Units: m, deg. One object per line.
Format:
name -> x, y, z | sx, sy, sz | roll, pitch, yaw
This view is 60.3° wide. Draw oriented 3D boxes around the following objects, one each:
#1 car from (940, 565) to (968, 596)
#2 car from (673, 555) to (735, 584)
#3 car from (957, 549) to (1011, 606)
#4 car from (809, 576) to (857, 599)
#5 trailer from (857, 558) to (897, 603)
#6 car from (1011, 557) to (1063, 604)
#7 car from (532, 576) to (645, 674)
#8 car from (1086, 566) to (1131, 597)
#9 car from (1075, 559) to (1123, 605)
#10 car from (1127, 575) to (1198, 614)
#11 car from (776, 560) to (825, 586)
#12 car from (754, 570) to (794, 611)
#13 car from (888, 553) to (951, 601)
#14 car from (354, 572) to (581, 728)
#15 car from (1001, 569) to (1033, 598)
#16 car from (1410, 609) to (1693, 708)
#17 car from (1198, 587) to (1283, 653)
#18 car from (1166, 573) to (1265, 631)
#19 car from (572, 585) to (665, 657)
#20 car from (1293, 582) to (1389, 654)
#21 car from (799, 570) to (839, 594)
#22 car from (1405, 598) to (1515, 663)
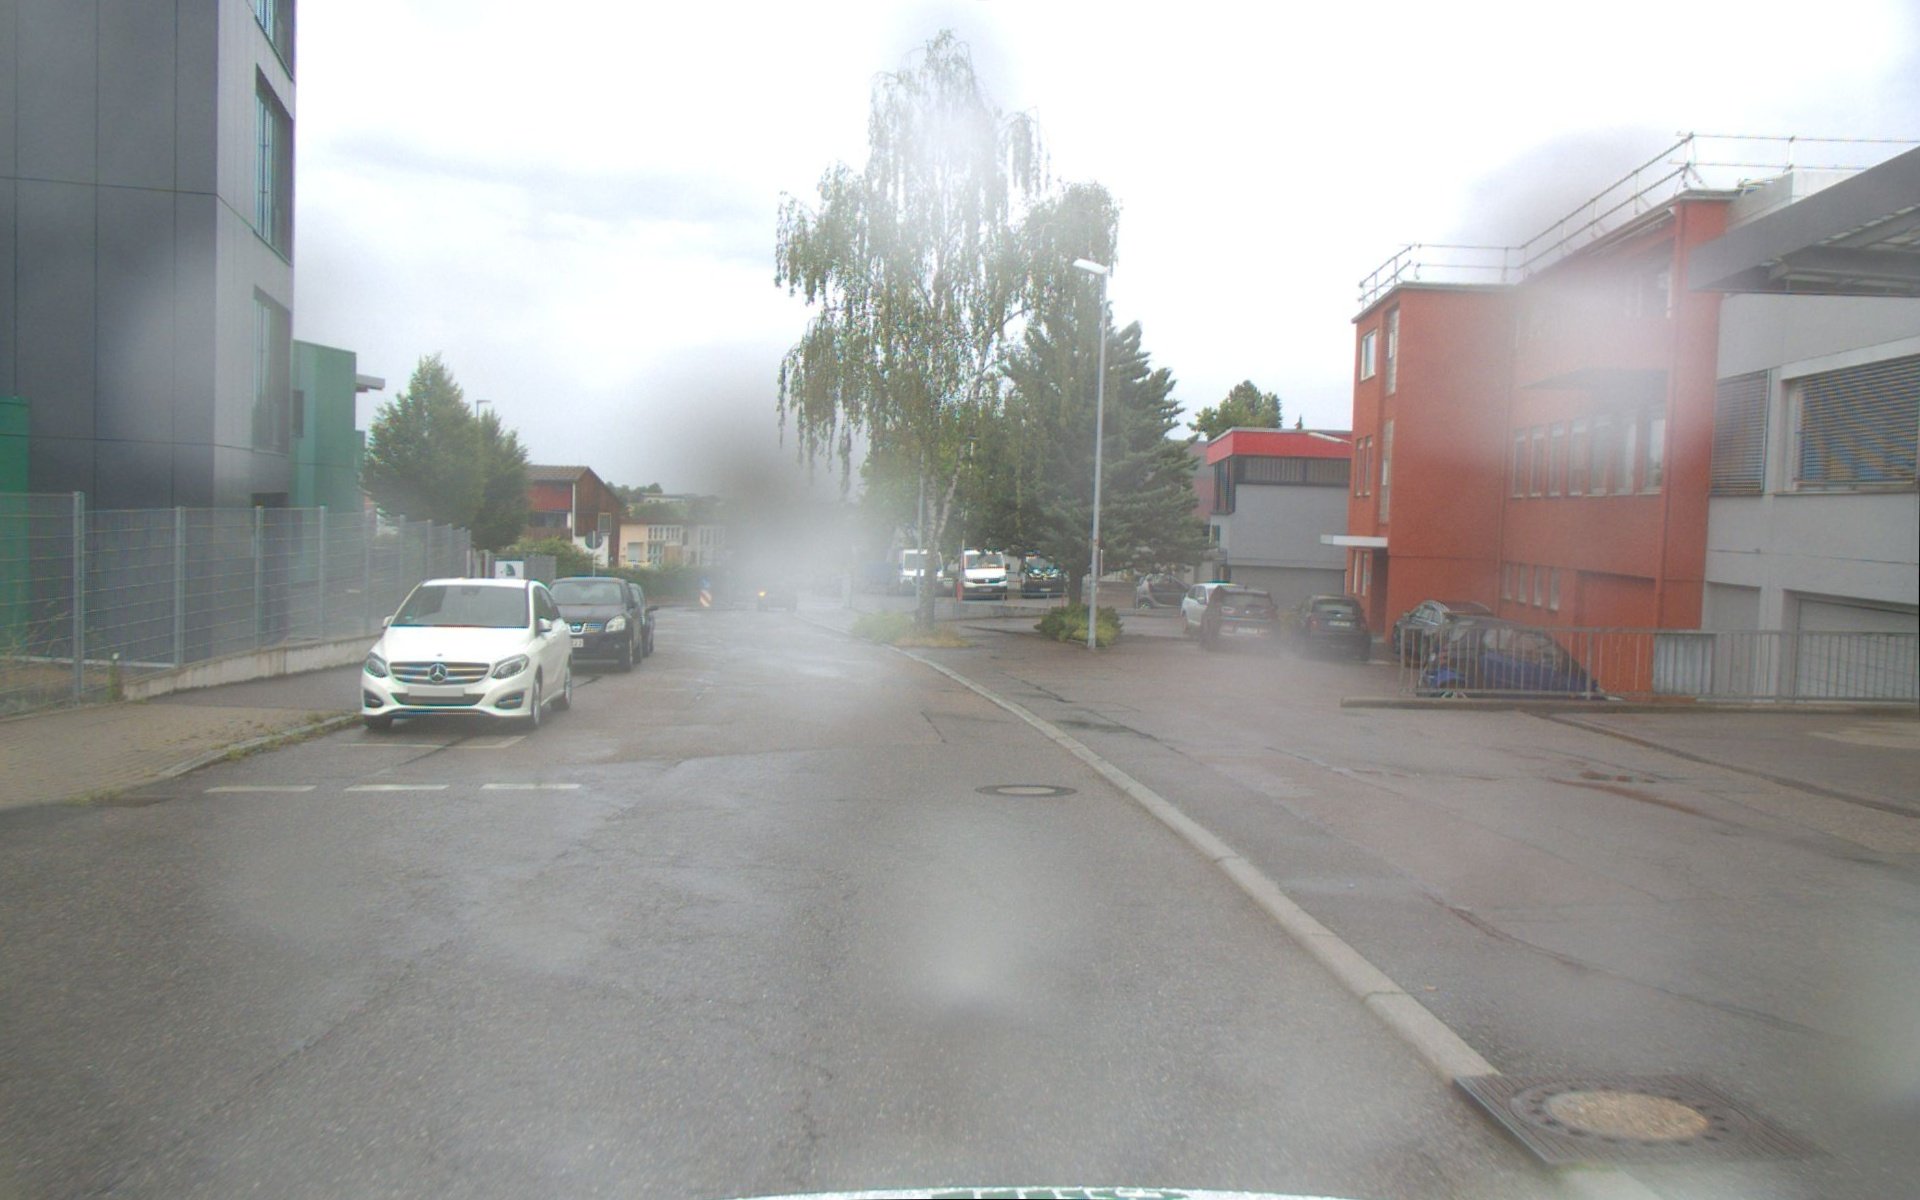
car -> -0.324, -0.938, 81.965 | 1.264, 1.449, 2.545 | 1, -1, -2
car -> -17.801, -2.109, 115.069 | 3.903, 1.914, 2.001 | 2, 0, 4
car -> 1.078, -1.010, 76.250 | 2.149, 2.502, 3.997 | 1, -1, -4
car -> -9.374, -0.902, 122.145 | 2.426, 1.566, 3.973 | 2, -1, -22
trailer -> -4.031, -0.943, 80.203 | 1.816, 2.049, 3.998 | 2, 0, -3
car -> 3.559, -0.892, 77.021 | 2.102, 2.049, 3.937 | 1, -1, -2
car -> -6.596, 0.385, 29.678 | 1.668, 1.637, 3.993 | 0, 1, -8
car -> 7.440, -0.904, 83.013 | 1.605, 1.479, 3.507 | 1, -1, -5
car -> 6.466, -0.823, 77.232 | 1.745, 2.049, 3.631 | 1, -1, -2
car -> 7.698, -0.218, 62.897 | 2.496, 1.375, 1.242 | 2, 0, -1
car -> -15.126, -2.561, 156.651 | 4.150, 2.265, 2.002 | 1, -1, 10
car -> -9.683, -0.463, 86.361 | 1.833, 2.064, 3.996 | 1, -1, -4
car -> -1.893, -1.030, 76.029 | 2.224, 2.049, 3.989 | 1, -1, -11
car -> -5.345, 0.518, 18.463 | 1.736, 1.539, 4.138 | 1, -1, -7
car -> 2.826, -0.824, 82.739 | 1.370, 1.349, 2.700 | 1, -1, -2
car -> 8.055, 0.770, 22.790 | 3.328, 1.183, 1.793 | 2, 0, 6
car -> 6.862, 0.494, 40.769 | 1.661, 1.501, 4.002 | 1, -1, 4
car -> 7.395, 0.072, 48.236 | 2.024, 1.579, 3.997 | 1, -1, -3
car -> -7.216, 0.436, 35.229 | 1.601, 1.418, 3.993 | 1, -1, -7
car -> 9.446, 0.453, 41.258 | 1.702, 1.682, 4.002 | 1, -1, 4
car -> -10.889, -1.364, 127.838 | 1.966, 1.734, 3.973 | 2, -1, -22
car -> 12.118, 0.730, 40.307 | 1.692, 1.446, 4.002 | 1, -1, 4
